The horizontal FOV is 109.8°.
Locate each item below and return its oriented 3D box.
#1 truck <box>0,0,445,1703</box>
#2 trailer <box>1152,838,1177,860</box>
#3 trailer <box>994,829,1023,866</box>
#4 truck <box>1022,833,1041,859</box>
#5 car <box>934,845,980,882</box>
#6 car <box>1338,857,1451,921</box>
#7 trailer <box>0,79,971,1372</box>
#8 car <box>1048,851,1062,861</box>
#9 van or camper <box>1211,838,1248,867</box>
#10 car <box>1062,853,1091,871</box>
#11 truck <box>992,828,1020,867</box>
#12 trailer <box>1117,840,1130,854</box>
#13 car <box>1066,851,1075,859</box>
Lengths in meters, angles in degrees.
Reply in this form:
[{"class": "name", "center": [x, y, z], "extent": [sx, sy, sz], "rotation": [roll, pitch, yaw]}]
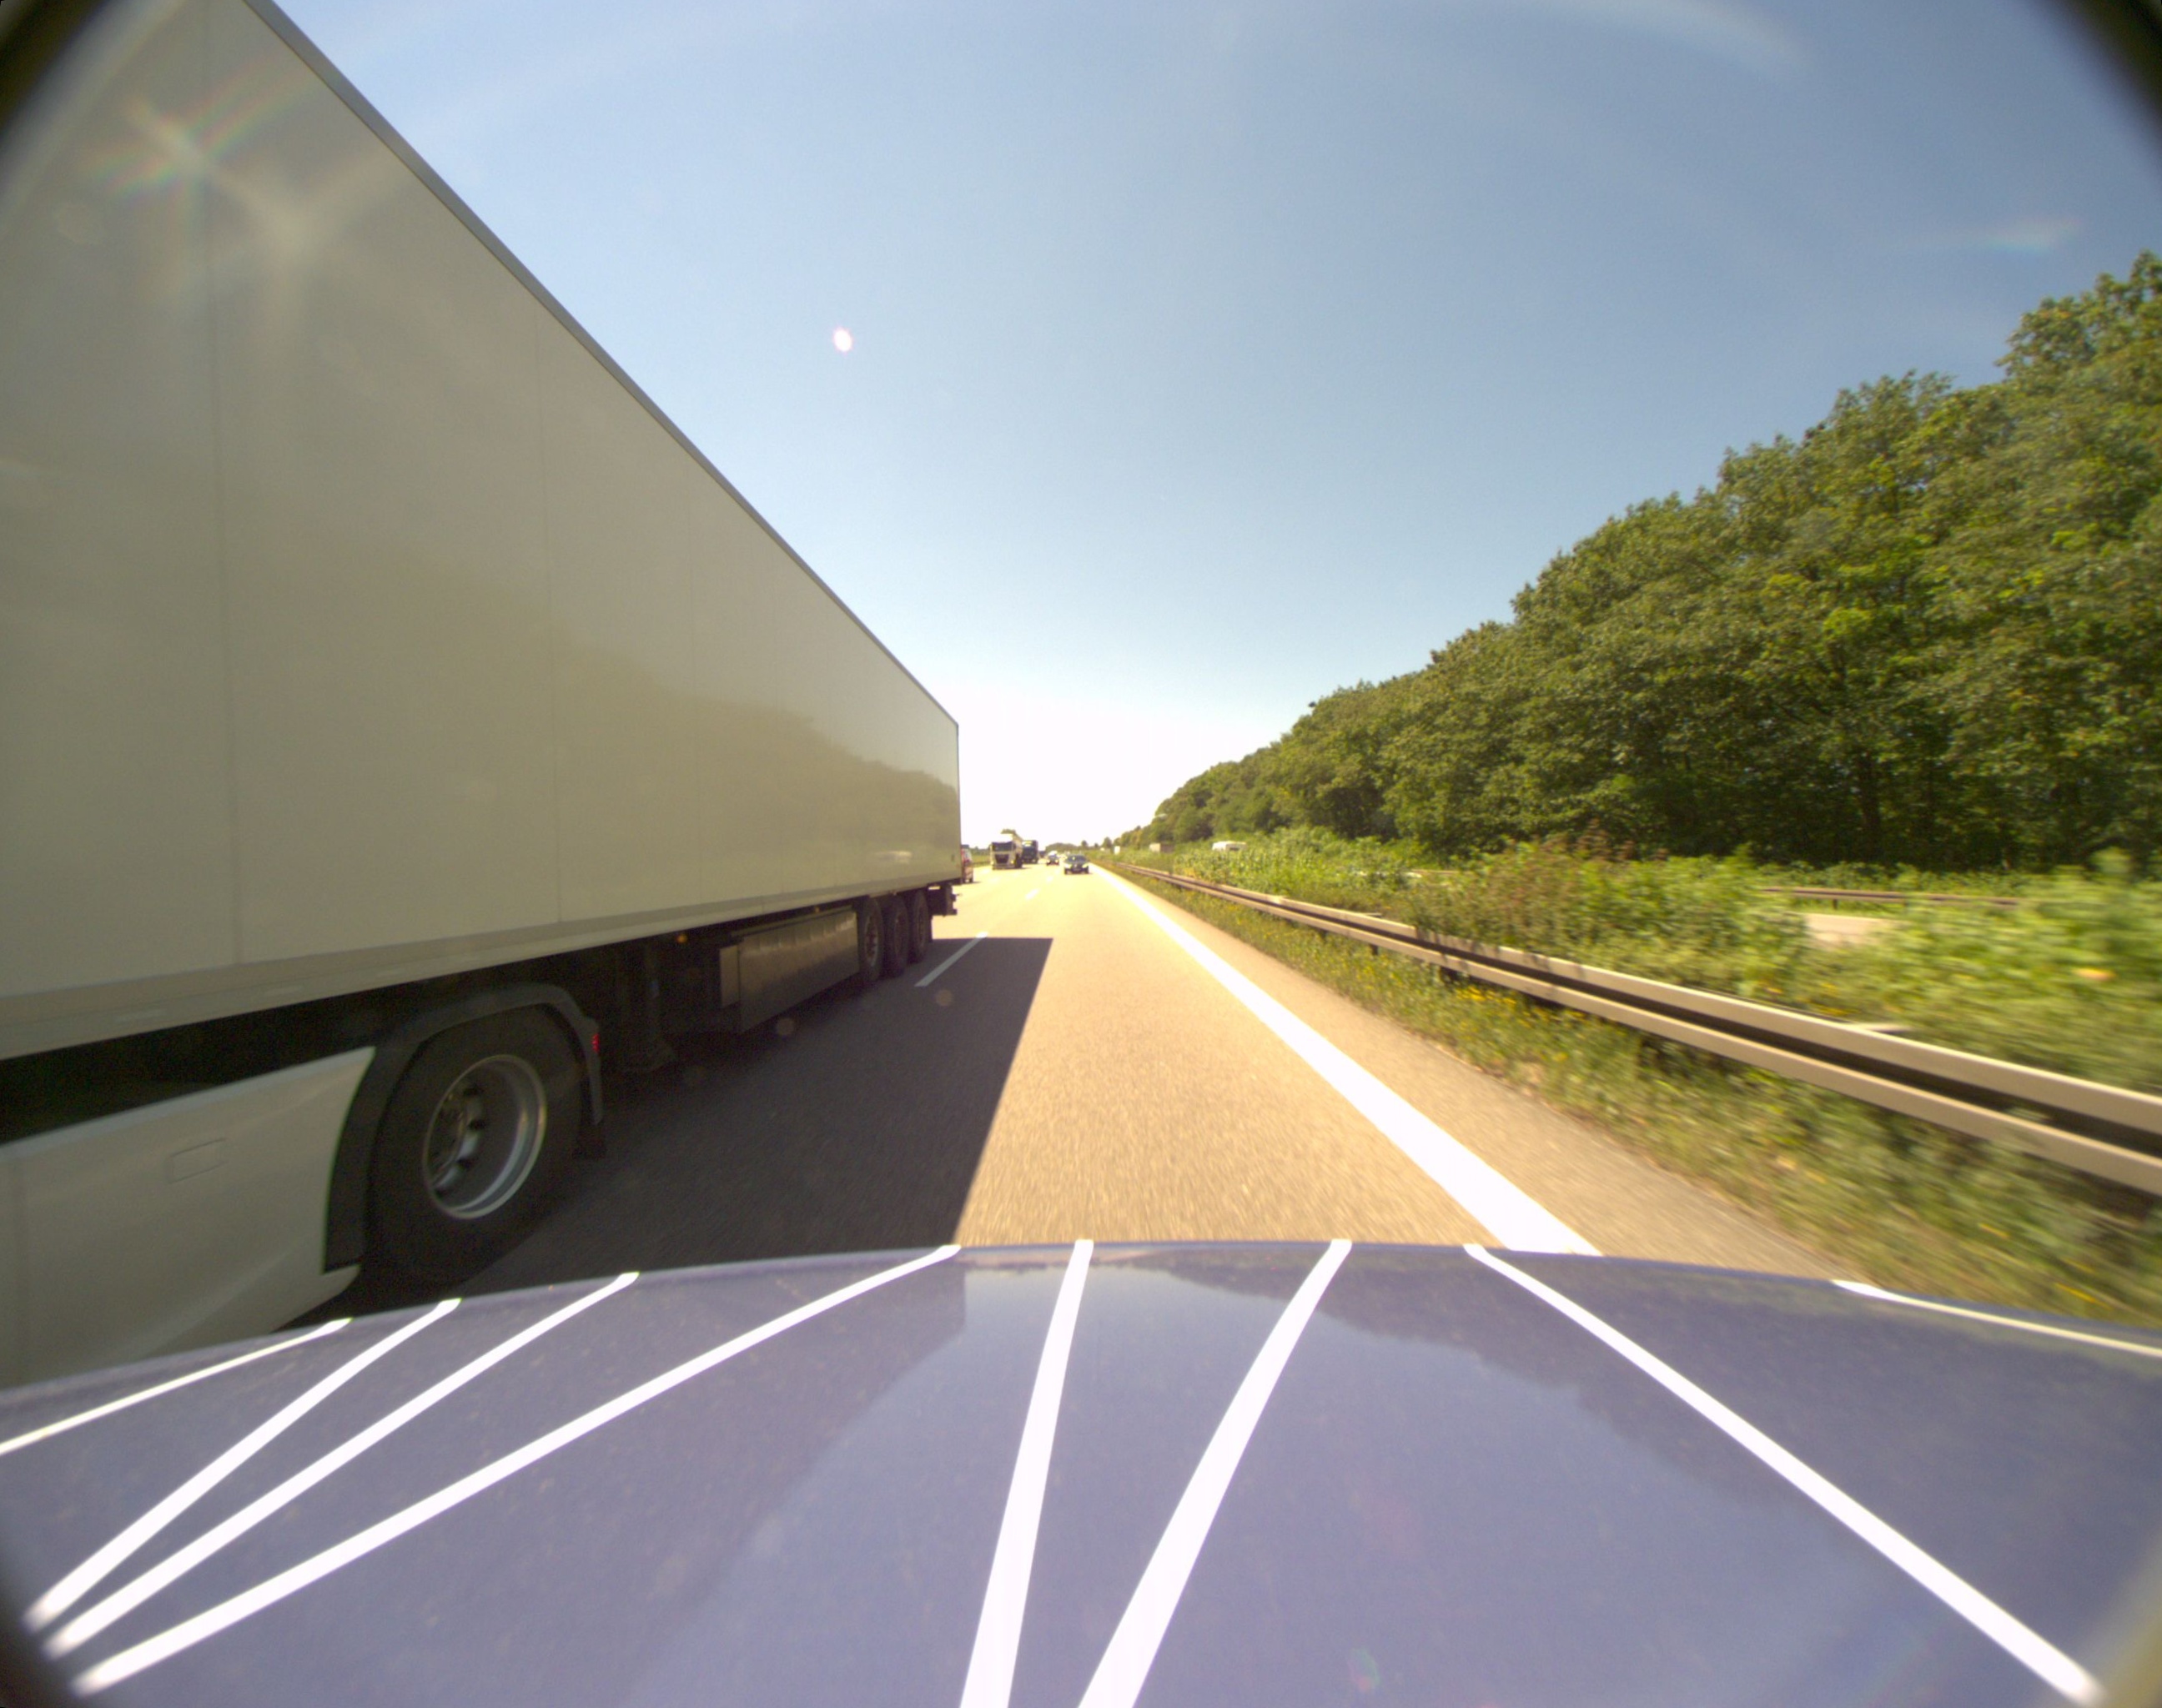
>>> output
[{"class": "truck", "center": [-3.755, -0.382, 0.200], "extent": [3.237, 4.133, 4.559], "rotation": [-1, 0, 0]}, {"class": "trailer", "center": [15.724, -0.966, 143.890], "extent": [2.917, 3.855, 13.639], "rotation": [-1, 0, -1]}, {"class": "trailer", "center": [-8.685, -0.766, 92.232], "extent": [2.798, 4.180, 12.349], "rotation": [-1, 0, -3]}, {"class": "truck", "center": [-8.192, -1.298, 127.474], "extent": [2.798, 4.180, 10.804], "rotation": [-1, 0, -2]}, {"class": "car", "center": [-7.180, 0.511, 44.637], "extent": [1.861, 1.991, 5.521], "rotation": [-2, 0, -1]}, {"class": "car", "center": [9.452, 0.990, 23.258], "extent": [1.689, 1.618, 4.000], "rotation": [5, 0, 0]}, {"class": "trailer", "center": [-3.778, -0.391, 8.606], "extent": [3.232, 4.119, 12.350], "rotation": [-1, 0, 0]}, {"class": "car", "center": [-3.555, 0.264, 103.169], "extent": [1.841, 1.409, 4.495], "rotation": [-1, 0, -4]}, {"class": "van or camper", "center": [16.617, -0.196, 85.541], "extent": [2.426, 3.094, 9.086], "rotation": [-1, 0, 0]}, {"class": "car", "center": [-0.401, 0.583, 57.567], "extent": [1.887, 1.341, 4.465], "rotation": [-1, 0, -4]}, {"class": "truck", "center": [-8.339, -0.720, 84.699], "extent": [2.798, 4.180, 4.998], "rotation": [-1, 0, -3]}, {"class": "trailer", "center": [13.006, -2.114, 233.552], "extent": [2.928, 4.026, 12.913], "rotation": [-1, 0, -1]}, {"class": "car", "center": [-2.664, 0.233, 184.309], "extent": [1.999, 2.002, 3.999], "rotation": [-1, 0, -3]}]
